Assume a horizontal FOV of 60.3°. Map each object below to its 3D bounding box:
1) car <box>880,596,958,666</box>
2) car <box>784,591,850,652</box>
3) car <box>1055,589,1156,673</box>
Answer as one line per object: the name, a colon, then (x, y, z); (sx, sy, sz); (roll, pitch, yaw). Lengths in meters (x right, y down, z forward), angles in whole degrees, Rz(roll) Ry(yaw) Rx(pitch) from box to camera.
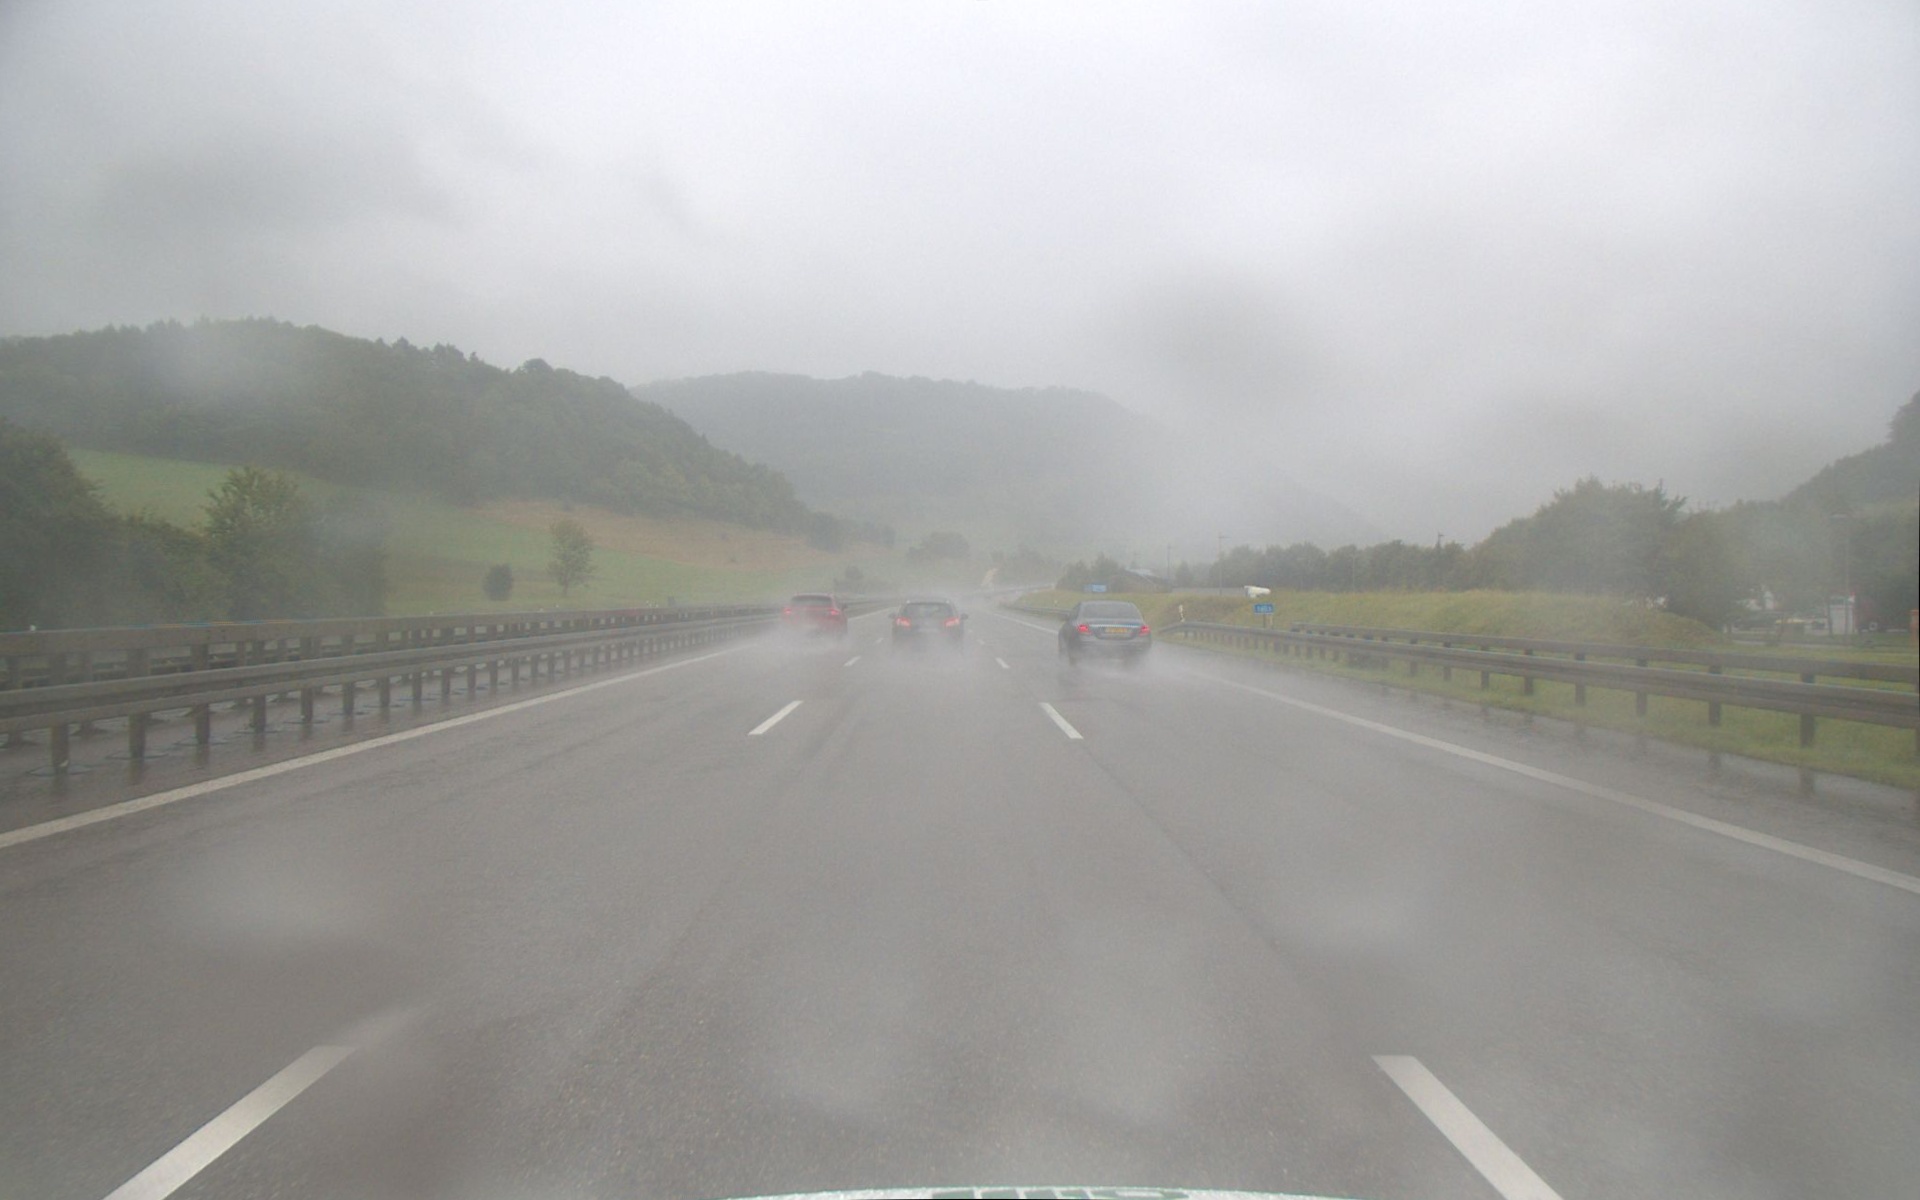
car: (-0.980, 0.725, 40.966); (1.821, 1.617, 4.000); (1, 0, 0)
car: (-4.513, 0.648, 52.626); (1.846, 1.847, 3.999); (0, 0, -1)
car: (3.266, 0.657, 37.744); (1.931, 1.791, 4.000); (-1, 0, 0)
